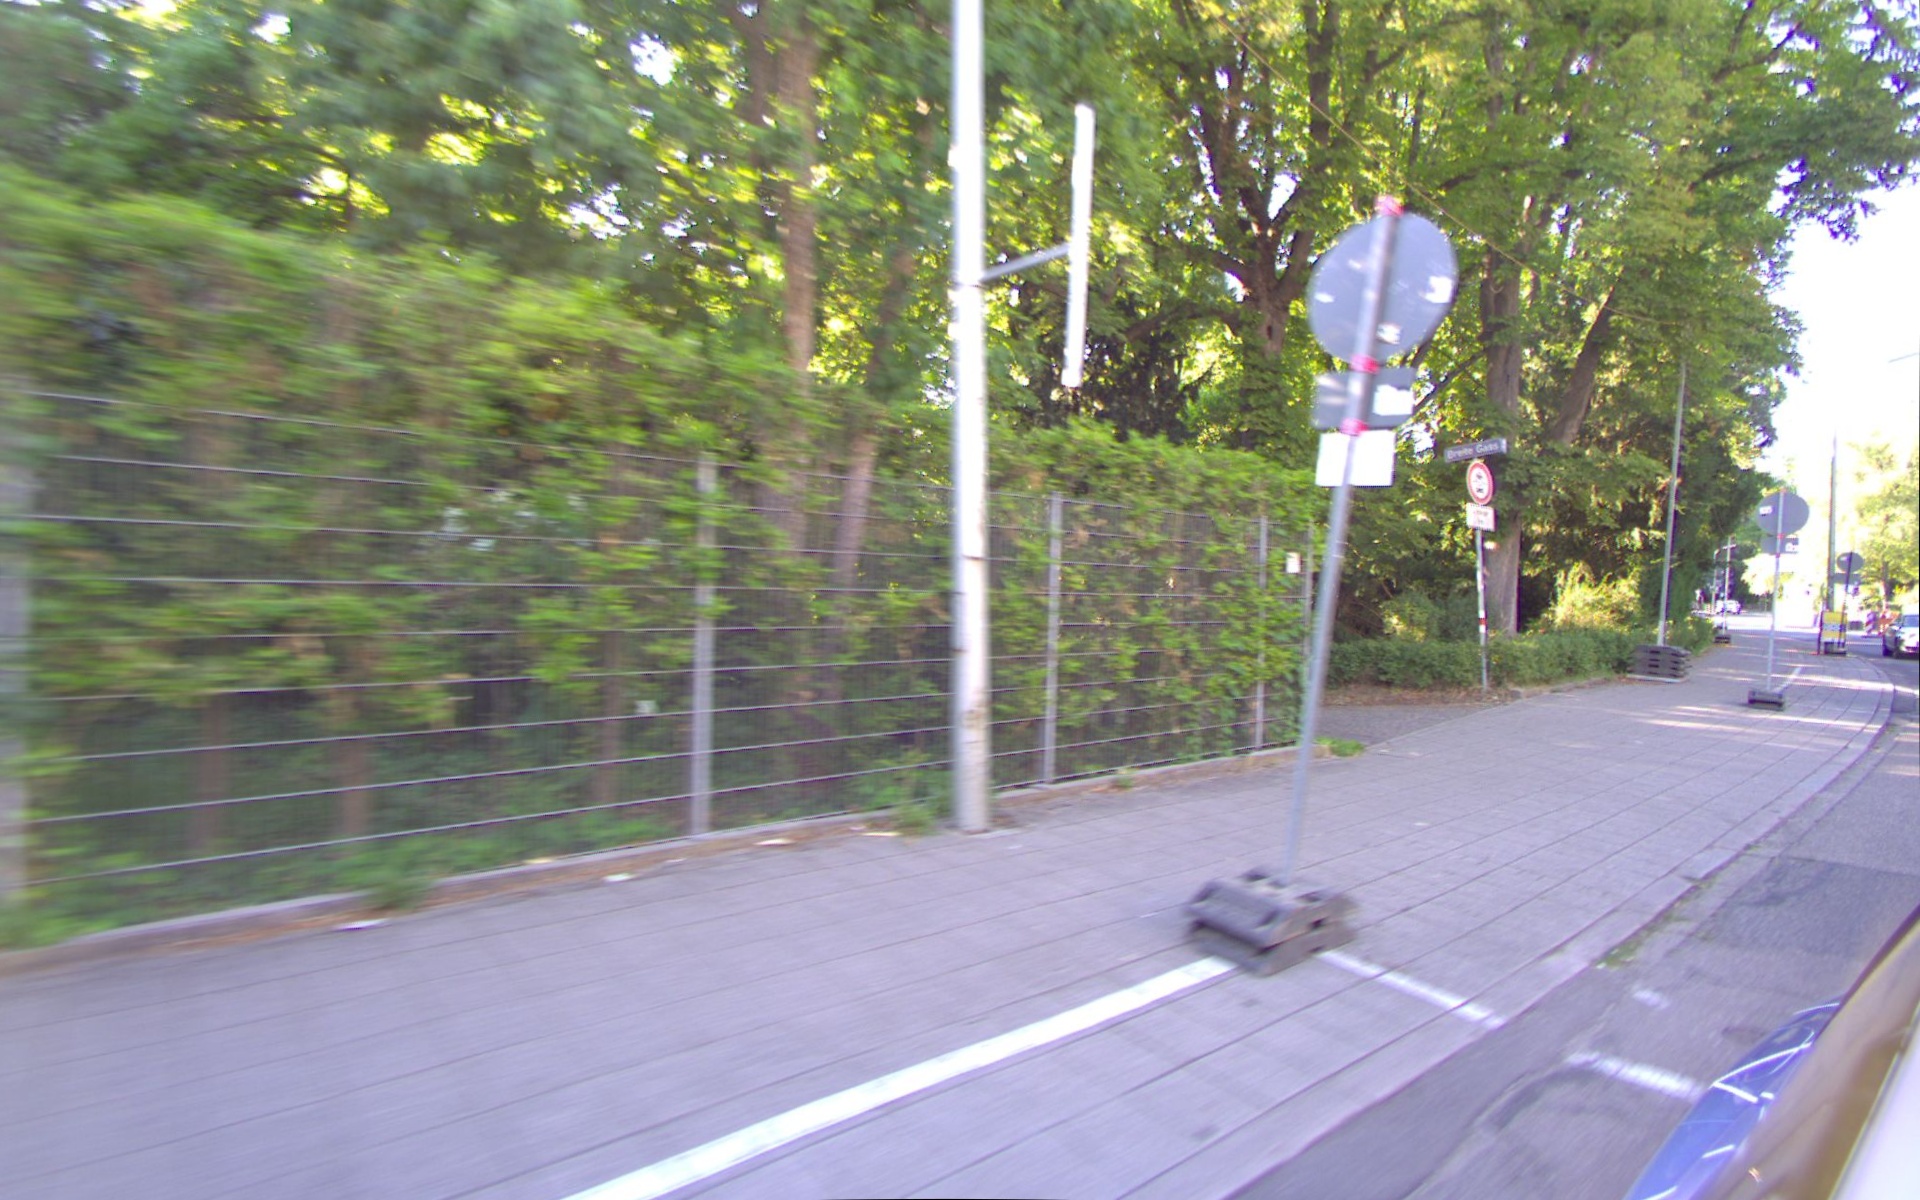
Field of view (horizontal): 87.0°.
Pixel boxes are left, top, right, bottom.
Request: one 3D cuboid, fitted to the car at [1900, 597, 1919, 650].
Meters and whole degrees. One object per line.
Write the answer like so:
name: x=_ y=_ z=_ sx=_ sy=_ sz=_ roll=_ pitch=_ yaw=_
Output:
car: x=29.484 y=0.694 z=30.235 sx=1.654 sy=1.495 sz=3.634 roll=1 pitch=1 yaw=37
